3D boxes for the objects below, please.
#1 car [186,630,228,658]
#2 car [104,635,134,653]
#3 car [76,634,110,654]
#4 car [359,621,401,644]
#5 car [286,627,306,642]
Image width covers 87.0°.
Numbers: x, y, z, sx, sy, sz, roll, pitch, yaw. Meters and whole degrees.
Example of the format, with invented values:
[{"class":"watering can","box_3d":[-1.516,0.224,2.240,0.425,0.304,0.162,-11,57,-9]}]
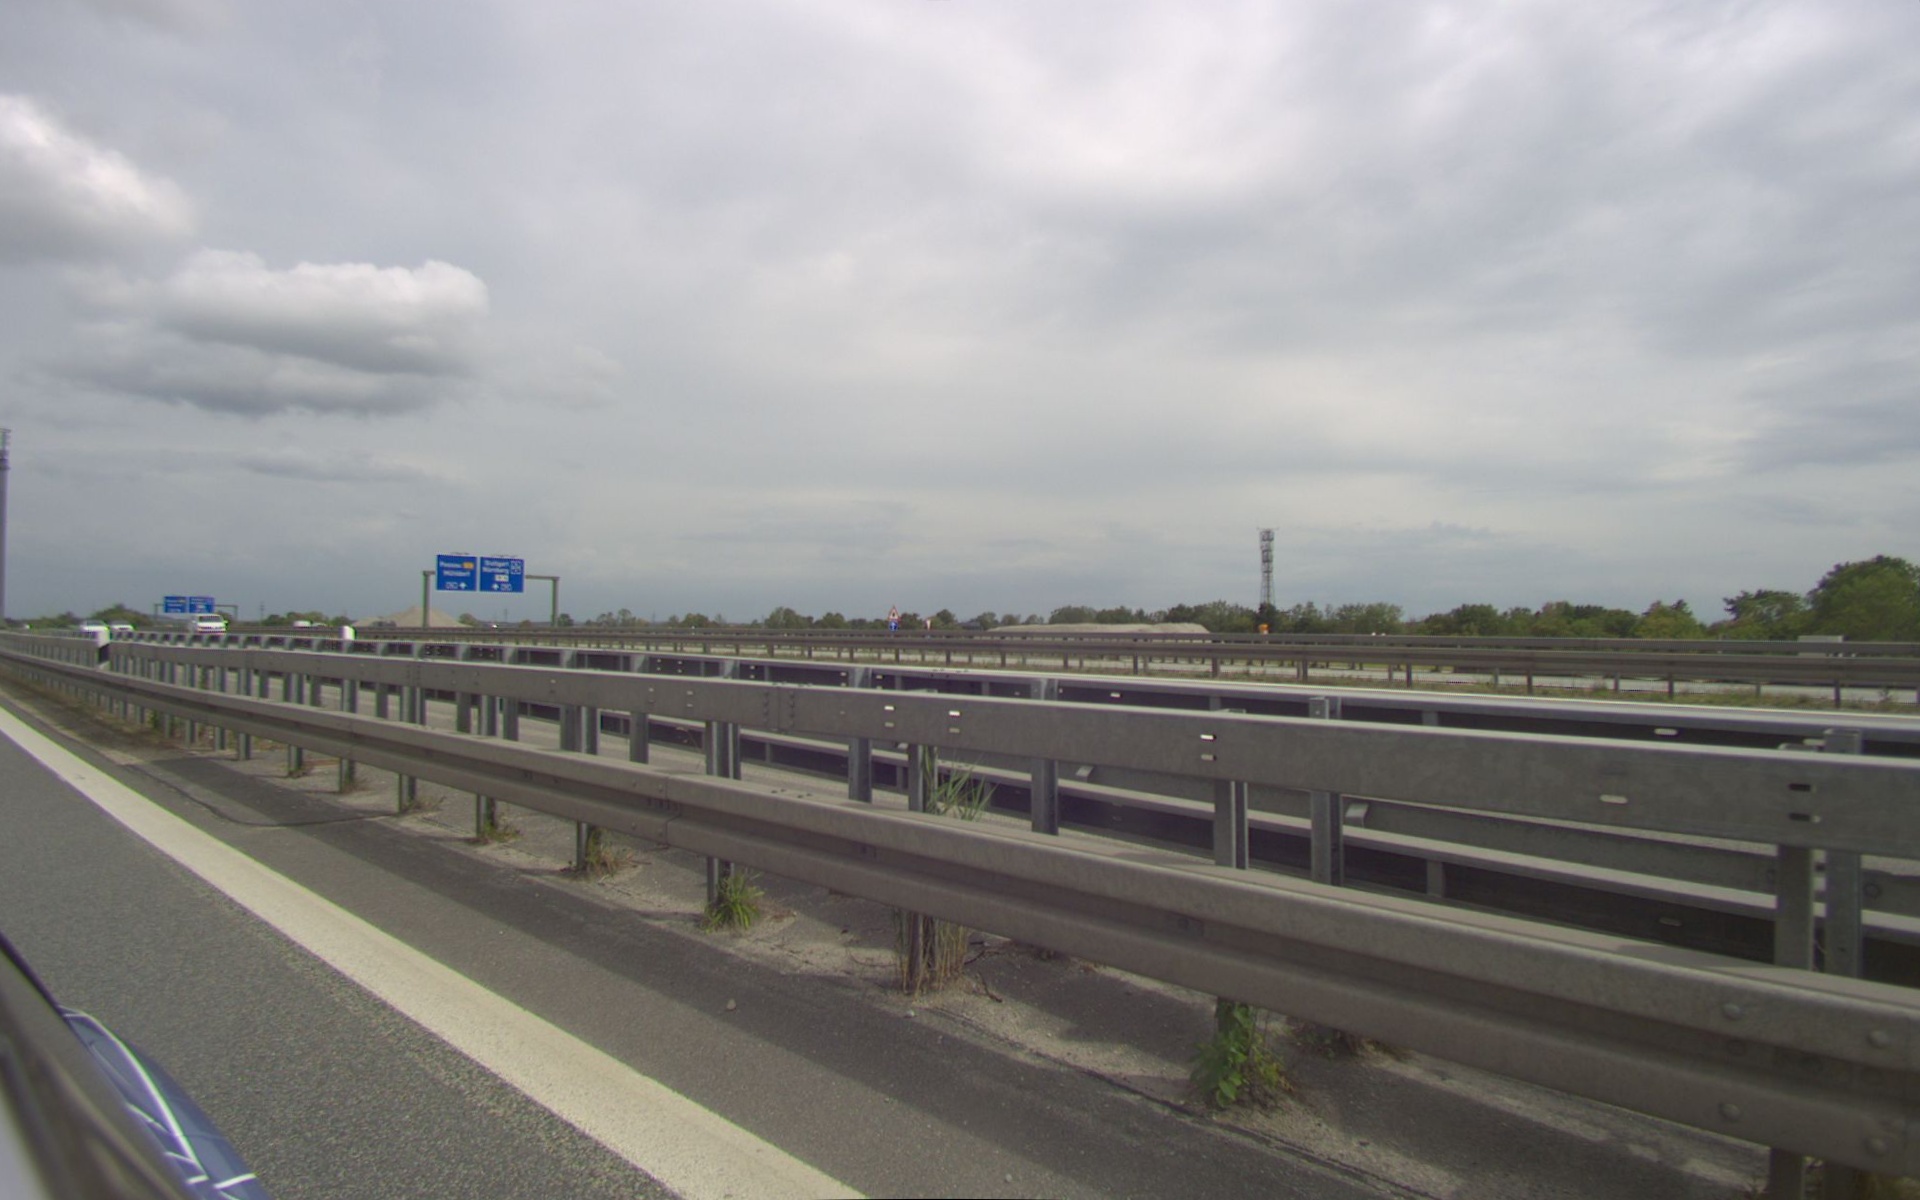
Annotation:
[{"class":"car","box_3d":[-59.138,3.448,79.444,4.467,2.029,1.971,-3,-1,44]},{"class":"car","box_3d":[-92.452,4.838,111.228,3.999,1.896,1.972,-3,-1,42]},{"class":"car","box_3d":[-83.358,4.213,97.300,3.999,1.763,1.972,-3,-1,42]},{"class":"car","box_3d":[-51.158,2.864,89.252,4.505,1.876,1.972,-2,2,44]},{"class":"car","box_3d":[-112.531,5.822,171.460,4.491,2.323,1.971,-3,-1,44]}]
